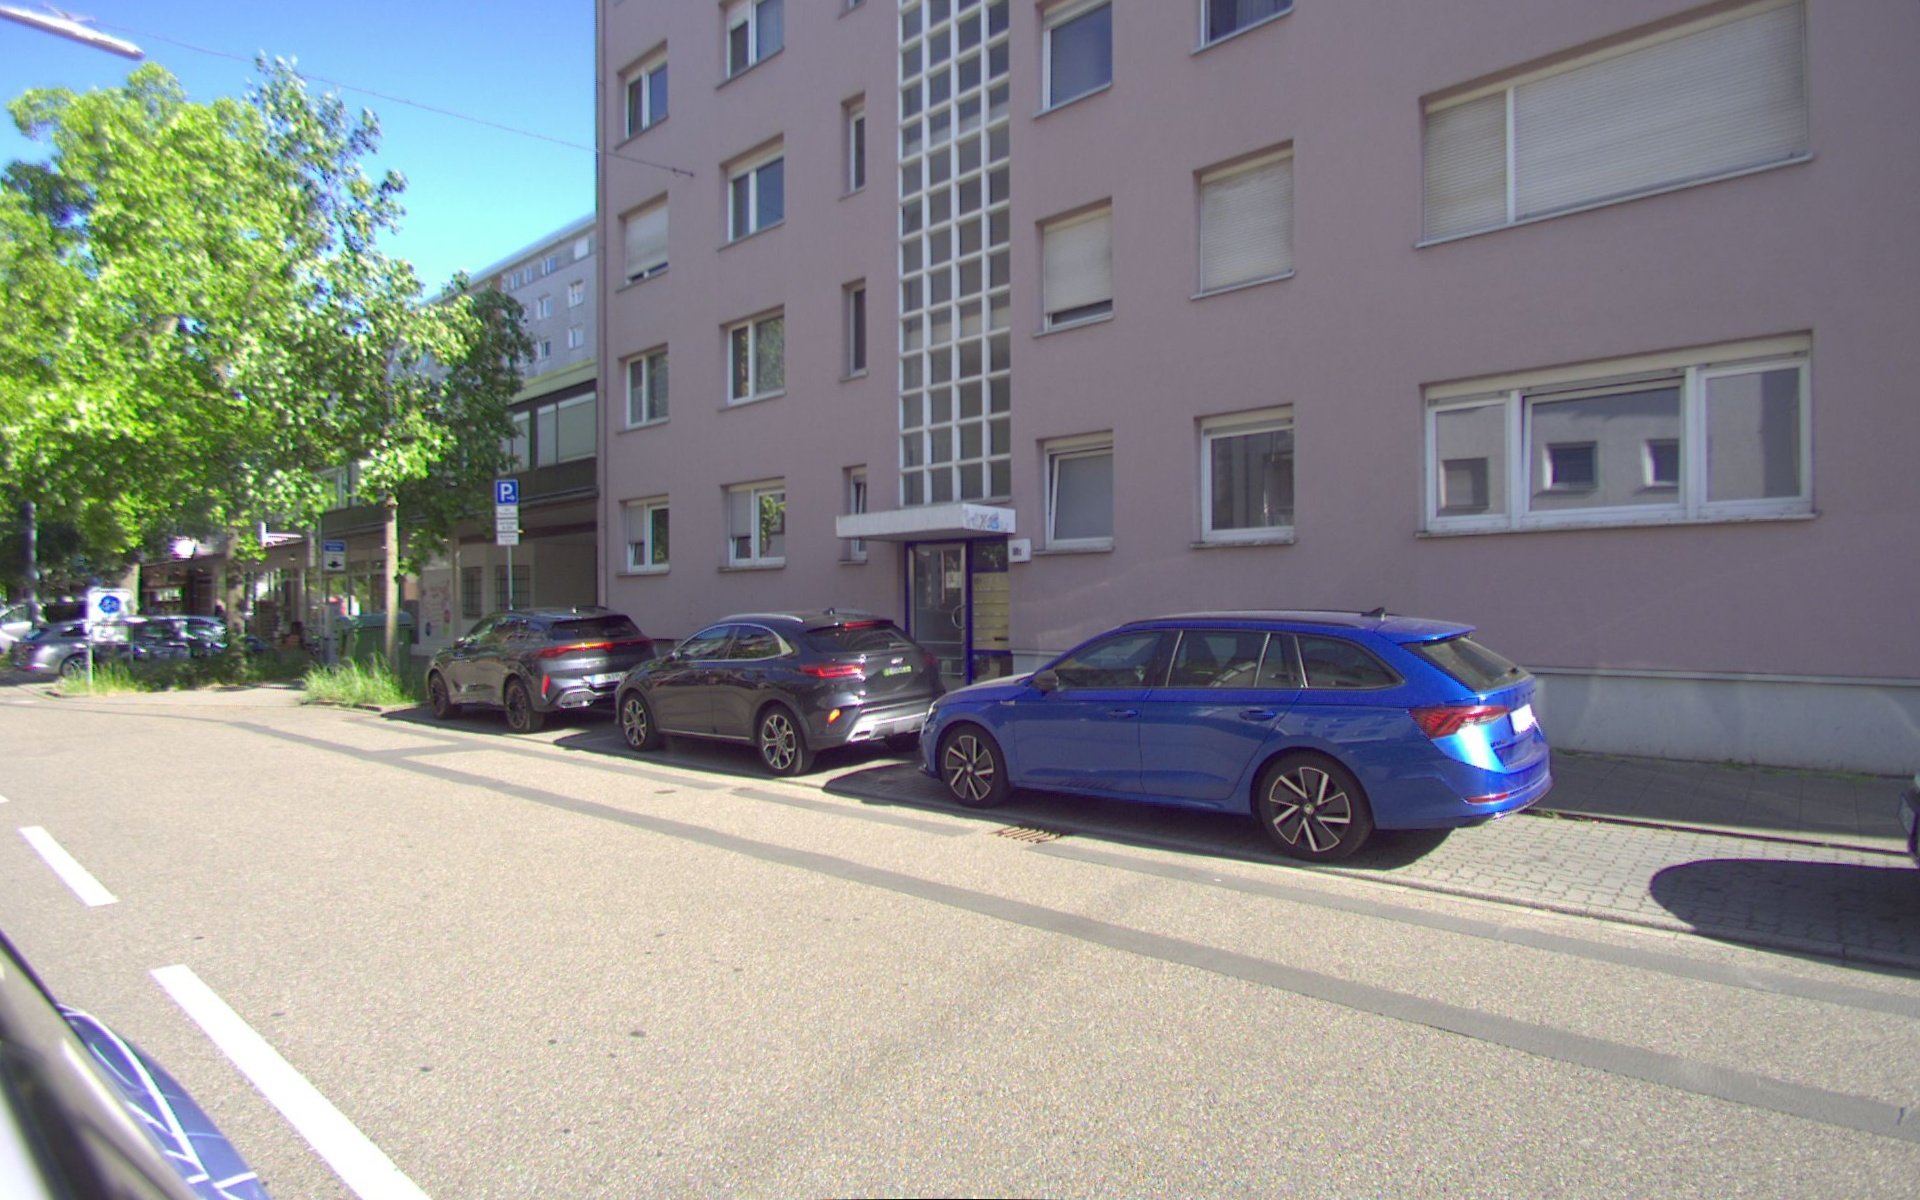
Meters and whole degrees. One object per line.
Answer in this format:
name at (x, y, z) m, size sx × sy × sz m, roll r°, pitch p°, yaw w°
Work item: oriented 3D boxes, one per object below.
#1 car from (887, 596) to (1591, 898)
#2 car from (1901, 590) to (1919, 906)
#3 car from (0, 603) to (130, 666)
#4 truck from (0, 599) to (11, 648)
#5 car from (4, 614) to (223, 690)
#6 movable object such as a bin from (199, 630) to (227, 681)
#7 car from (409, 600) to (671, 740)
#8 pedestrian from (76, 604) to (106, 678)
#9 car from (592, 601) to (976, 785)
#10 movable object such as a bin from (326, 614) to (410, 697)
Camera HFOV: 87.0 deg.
car at (1.715, 0.785, 7.320) m, size 4.610 × 1.476 × 1.700 m, roll -1°, pitch 1°, yaw 41°
car at (6.323, 0.674, 3.190) m, size 4.812 × 1.476 × 1.700 m, roll -1°, pitch 1°, yaw 41°
car at (-31.278, 1.157, 34.835) m, size 1.999 × 2.047 × 3.945 m, roll -1°, pitch -1°, yaw 41°
truck at (-52.280, 1.234, 51.679) m, size 1.993 × 2.615 × 5.266 m, roll -1°, pitch -1°, yaw 31°
car at (-20.966, 1.216, 25.177) m, size 1.999 × 1.687 × 3.945 m, roll -1°, pitch -1°, yaw 41°
movable object such as a bin at (-18.482, 1.371, 25.031) m, size 0.409 × 1.234 × 0.482 m, roll -1°, pitch -1°, yaw 41°
car at (-6.047, 0.884, 14.339) m, size 4.141 × 1.604 × 1.798 m, roll -1°, pitch 2°, yaw 43°
pedestrian at (-24.346, 1.131, 28.352) m, size 0.753 × 2.029 × 0.558 m, roll -2°, pitch -1°, yaw 43°
car at (-2.027, 0.831, 10.792) m, size 4.245 × 1.519 × 1.798 m, roll -1°, pitch 1°, yaw 43°
movable object such as a bin at (-11.570, 1.054, 19.781) m, size 1.230 × 1.557 × 1.019 m, roll 0°, pitch -1°, yaw -44°
